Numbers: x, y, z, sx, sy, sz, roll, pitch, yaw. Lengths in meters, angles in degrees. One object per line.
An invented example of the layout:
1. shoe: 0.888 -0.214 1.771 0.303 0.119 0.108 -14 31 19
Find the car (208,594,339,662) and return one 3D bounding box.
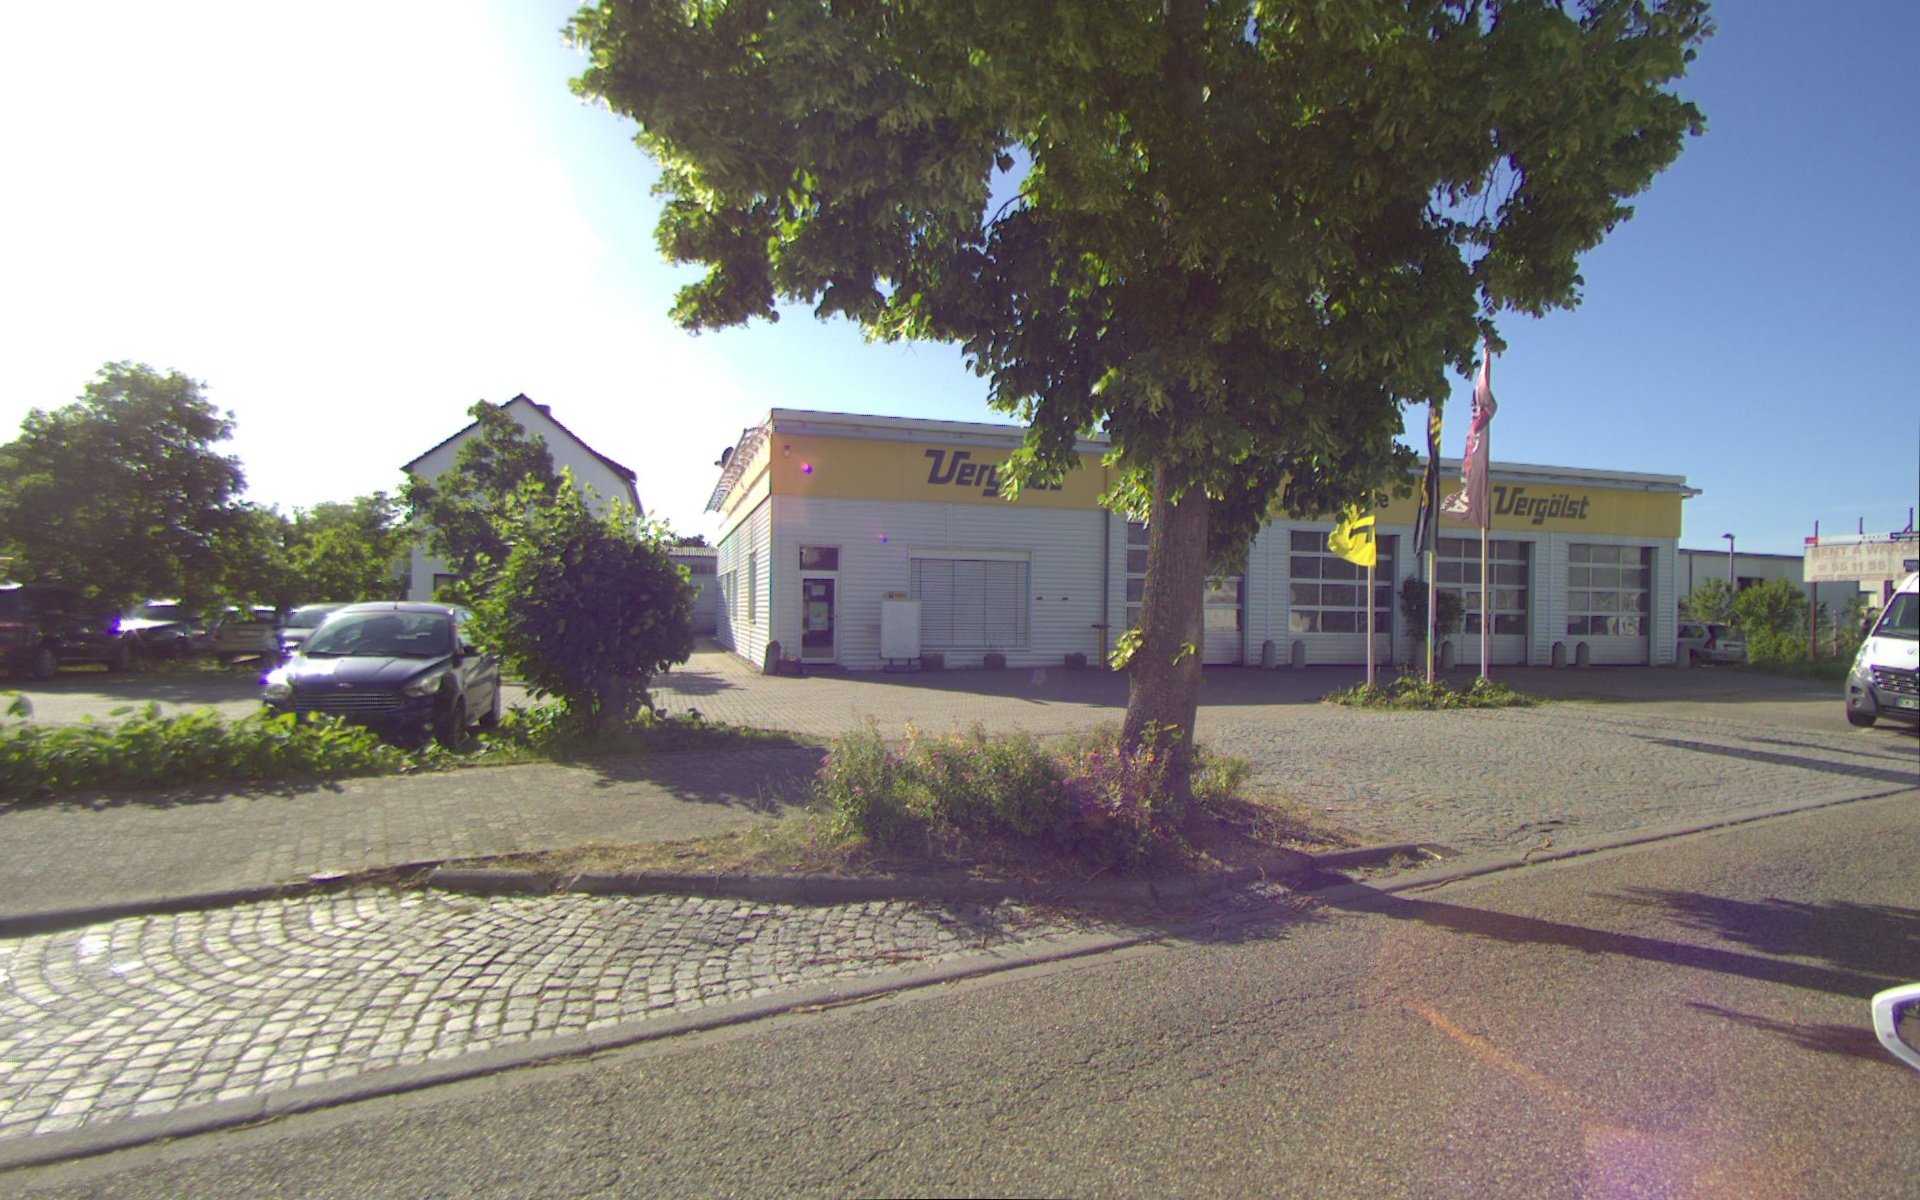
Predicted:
1. car: -18.035 0.705 26.604 1.746 1.660 4.057 1 -1 -18

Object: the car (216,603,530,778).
1. car: -6.152 0.821 11.168 1.967 1.528 4.345 1 -1 -16

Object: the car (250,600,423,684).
1. car: -12.637 0.788 20.693 1.968 1.528 4.441 1 -1 -18

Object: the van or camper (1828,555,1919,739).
1. van or camper: 16.407 0.720 15.898 6.330 2.584 2.059 1 3 -31

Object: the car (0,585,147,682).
1. car: -17.798 0.580 19.259 1.968 1.677 4.316 1 -1 -18

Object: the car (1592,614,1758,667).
1. car: 23.616 1.301 33.367 1.887 1.595 4.152 1 -1 -20

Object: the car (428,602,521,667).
1. car: -13.454 0.914 28.044 1.746 1.660 4.057 1 -1 -18
